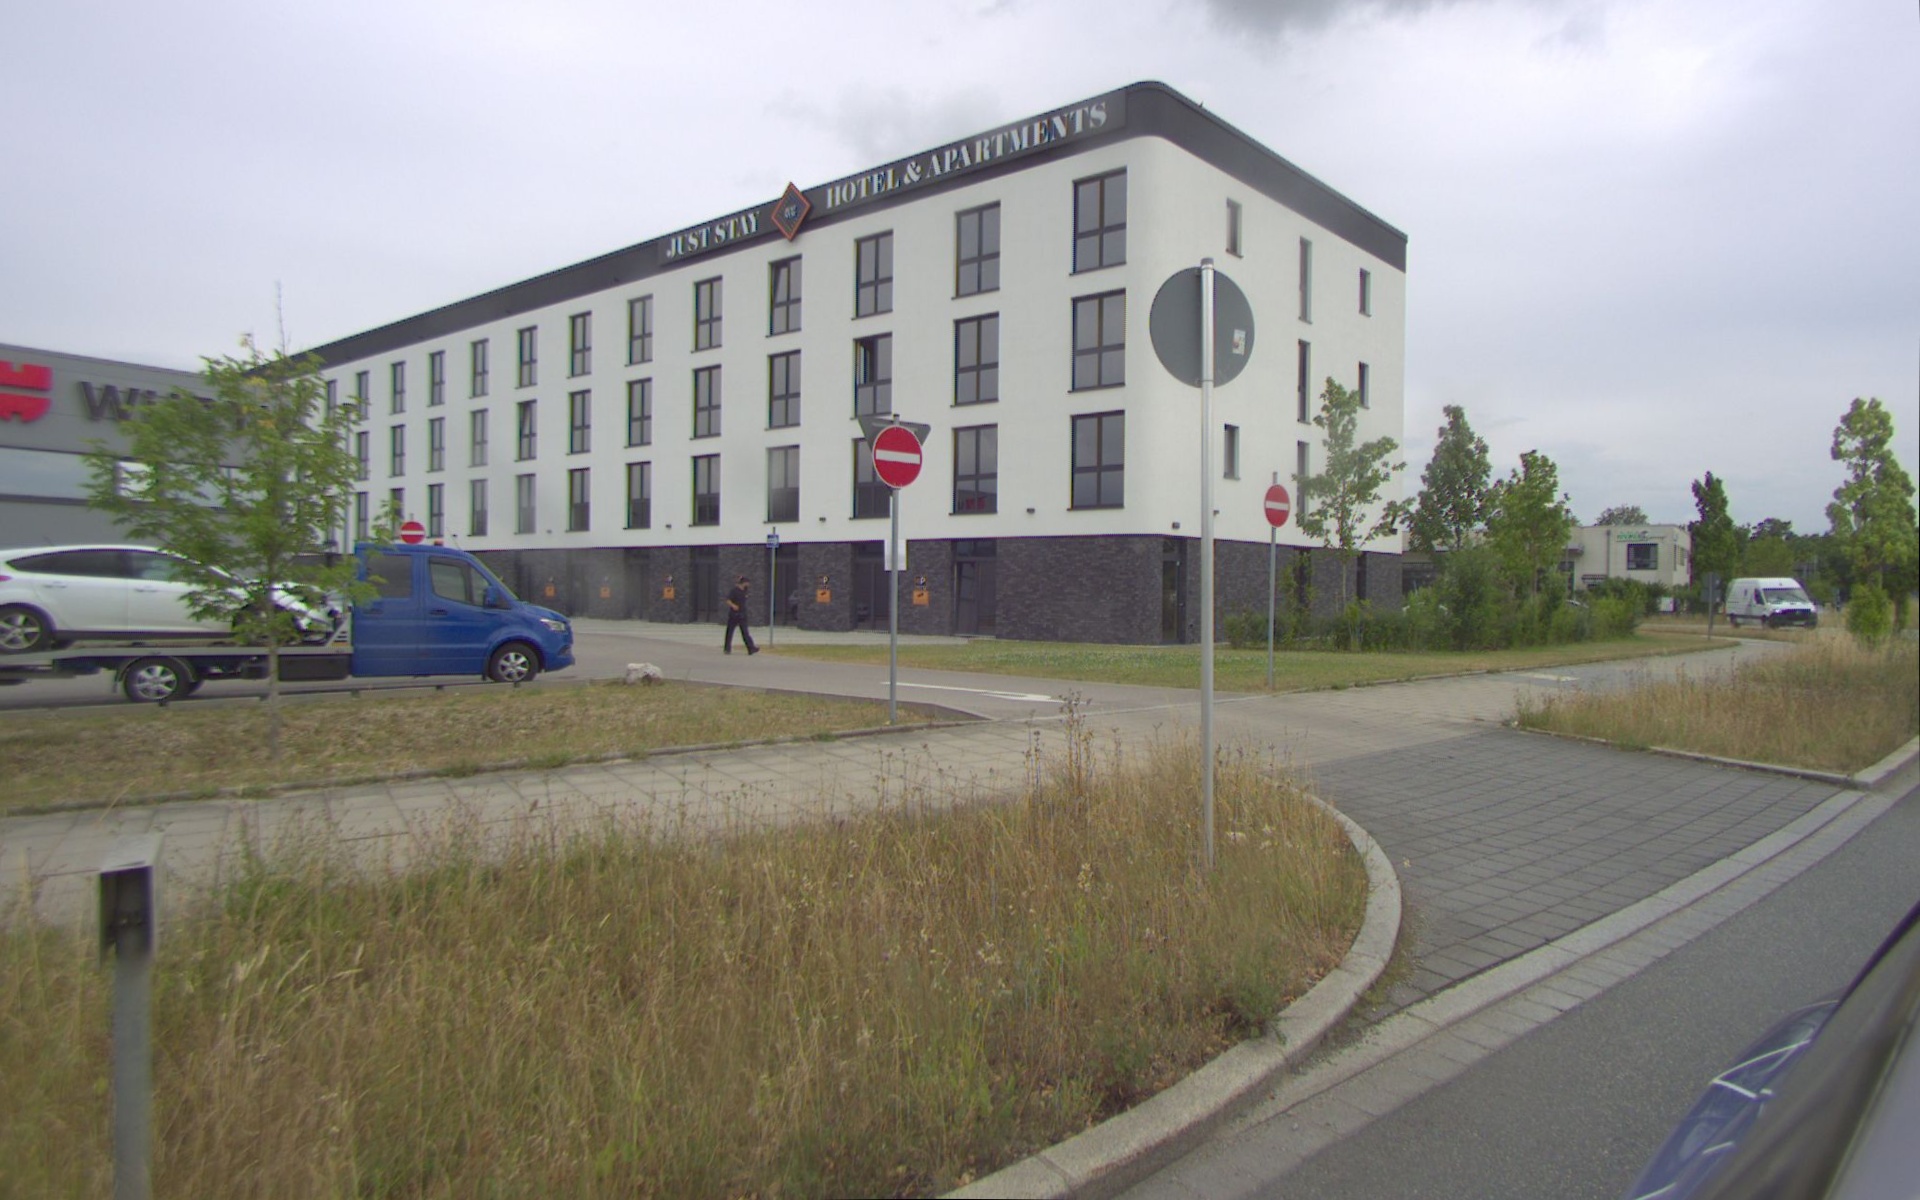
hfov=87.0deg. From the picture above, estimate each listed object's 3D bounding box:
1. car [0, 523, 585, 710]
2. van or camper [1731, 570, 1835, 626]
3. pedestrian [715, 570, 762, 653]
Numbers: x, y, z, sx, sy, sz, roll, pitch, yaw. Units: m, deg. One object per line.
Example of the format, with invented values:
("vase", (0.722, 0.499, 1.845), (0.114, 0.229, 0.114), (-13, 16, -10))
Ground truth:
("car", (-9.941, 0.191, 15.358), (7.700, 2.352, 2.203), (0, 1, -31))
("van or camper", (41.034, -0.181, 50.658), (1.972, 2.614, 5.441), (1, 2, 16))
("pedestrian", (-5.012, 0.249, 22.901), (0.810, 1.845, 0.699), (1, 1, 42))
